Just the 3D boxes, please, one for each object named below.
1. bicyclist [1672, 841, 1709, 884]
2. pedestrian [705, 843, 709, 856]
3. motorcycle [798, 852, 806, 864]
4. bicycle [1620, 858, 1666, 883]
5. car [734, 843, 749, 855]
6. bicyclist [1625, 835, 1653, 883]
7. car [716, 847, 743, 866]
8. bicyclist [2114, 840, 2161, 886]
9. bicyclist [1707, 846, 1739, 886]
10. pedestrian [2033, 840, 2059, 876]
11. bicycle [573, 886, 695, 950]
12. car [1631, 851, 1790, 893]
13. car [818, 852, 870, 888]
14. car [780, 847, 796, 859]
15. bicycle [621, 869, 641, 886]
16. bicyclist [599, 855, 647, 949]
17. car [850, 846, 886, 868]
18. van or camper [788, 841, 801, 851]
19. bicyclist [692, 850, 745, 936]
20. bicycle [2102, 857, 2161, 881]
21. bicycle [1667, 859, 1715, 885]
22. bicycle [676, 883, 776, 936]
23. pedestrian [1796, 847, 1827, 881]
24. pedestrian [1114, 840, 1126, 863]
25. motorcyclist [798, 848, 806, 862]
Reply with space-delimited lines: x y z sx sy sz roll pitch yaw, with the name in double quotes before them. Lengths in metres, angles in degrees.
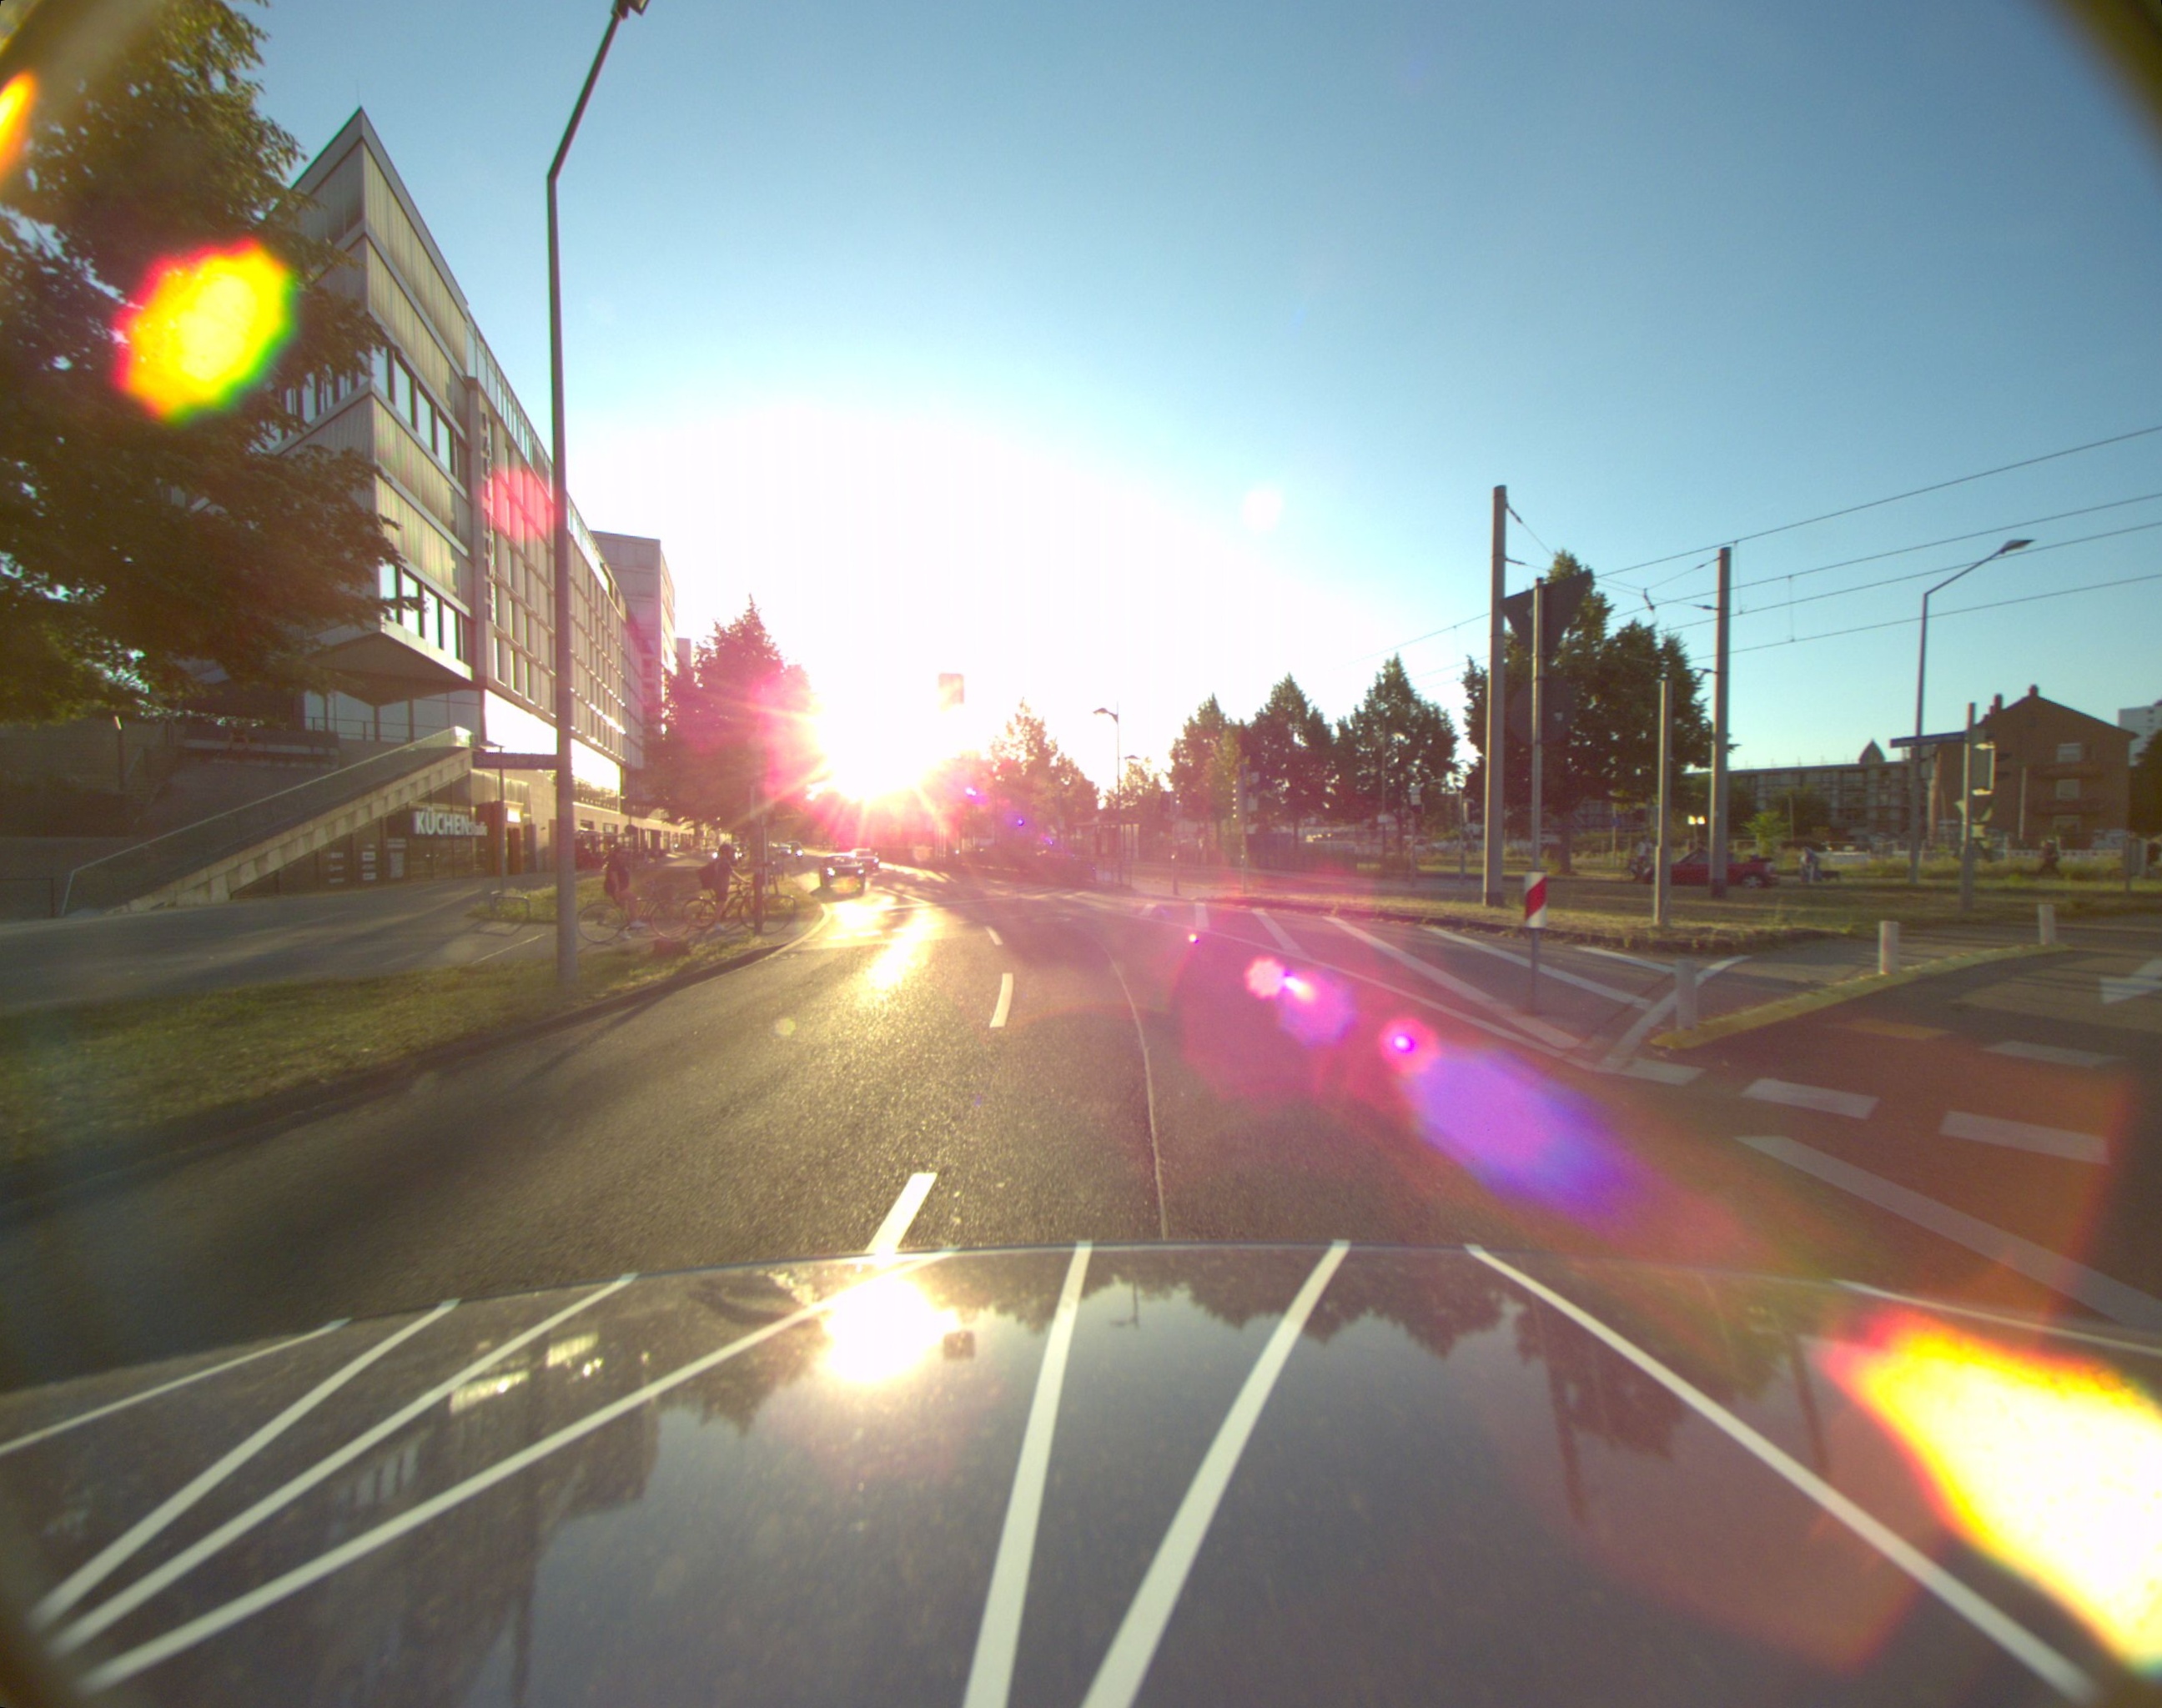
"bicyclist" 23.831 0.319 29.718 0.815 1.631 0.813 -1 1 -20
"pedestrian" -56.214 -0.684 114.158 0.539 2.002 0.526 -1 2 -24
"motorcycle" -26.889 0.399 73.272 0.559 1.094 2.155 -1 1 -23
"bicycle" 22.784 0.668 30.800 1.845 0.975 0.549 -1 1 -20
"car" -45.522 -0.684 101.919 1.805 1.456 3.992 -1 1 -23
"bicyclist" 22.570 0.194 30.723 0.678 1.907 0.614 -1 2 -20
"car" -28.698 0.182 62.139 1.805 1.456 3.992 -1 1 -23
"bicyclist" 37.792 0.322 27.137 0.796 1.625 0.697 0 1 26
"bicyclist" 24.098 0.441 28.537 0.815 1.497 0.591 -1 1 -20
"pedestrian" 36.966 0.146 29.119 0.502 1.358 0.435 0 2 36
"bicycle" -8.096 1.144 13.818 1.866 1.017 0.307 -1 2 -33
"car" 21.659 0.570 26.247 1.838 1.324 3.988 -1 1 -43
"car" -10.644 0.671 33.963 1.805 1.456 3.992 -1 1 -23
"car" -39.491 -0.173 102.276 1.895 1.472 4.042 -1 2 -23
"bicycle" -25.435 1.295 42.978 0.551 0.847 2.639 -1 1 -21
"bicyclist" -8.315 0.849 13.796 0.685 1.639 0.682 -2 2 -32
"car" -14.977 0.192 53.321 1.805 1.415 4.439 -1 1 -23
"van or camper" -56.777 -1.653 150.388 2.002 1.946 5.317 -1 2 -24
"bicyclist" -7.570 0.790 15.893 0.850 1.745 0.803 -1 1 -16
"bicycle" 38.123 0.530 27.032 2.130 0.841 0.513 0 1 26
"bicycle" 23.832 0.685 29.677 1.845 0.975 0.549 -1 1 -20
"bicycle" -7.495 1.162 16.103 1.864 1.017 0.437 -1 1 -16
"pedestrian" 29.860 0.387 31.050 0.619 1.358 0.693 -1 1 -20
"pedestrian" 2.780 -0.200 53.760 0.709 1.623 0.445 -1 2 -25
"motorcyclist" -26.796 0.094 73.001 0.637 1.408 0.713 -1 2 -23
